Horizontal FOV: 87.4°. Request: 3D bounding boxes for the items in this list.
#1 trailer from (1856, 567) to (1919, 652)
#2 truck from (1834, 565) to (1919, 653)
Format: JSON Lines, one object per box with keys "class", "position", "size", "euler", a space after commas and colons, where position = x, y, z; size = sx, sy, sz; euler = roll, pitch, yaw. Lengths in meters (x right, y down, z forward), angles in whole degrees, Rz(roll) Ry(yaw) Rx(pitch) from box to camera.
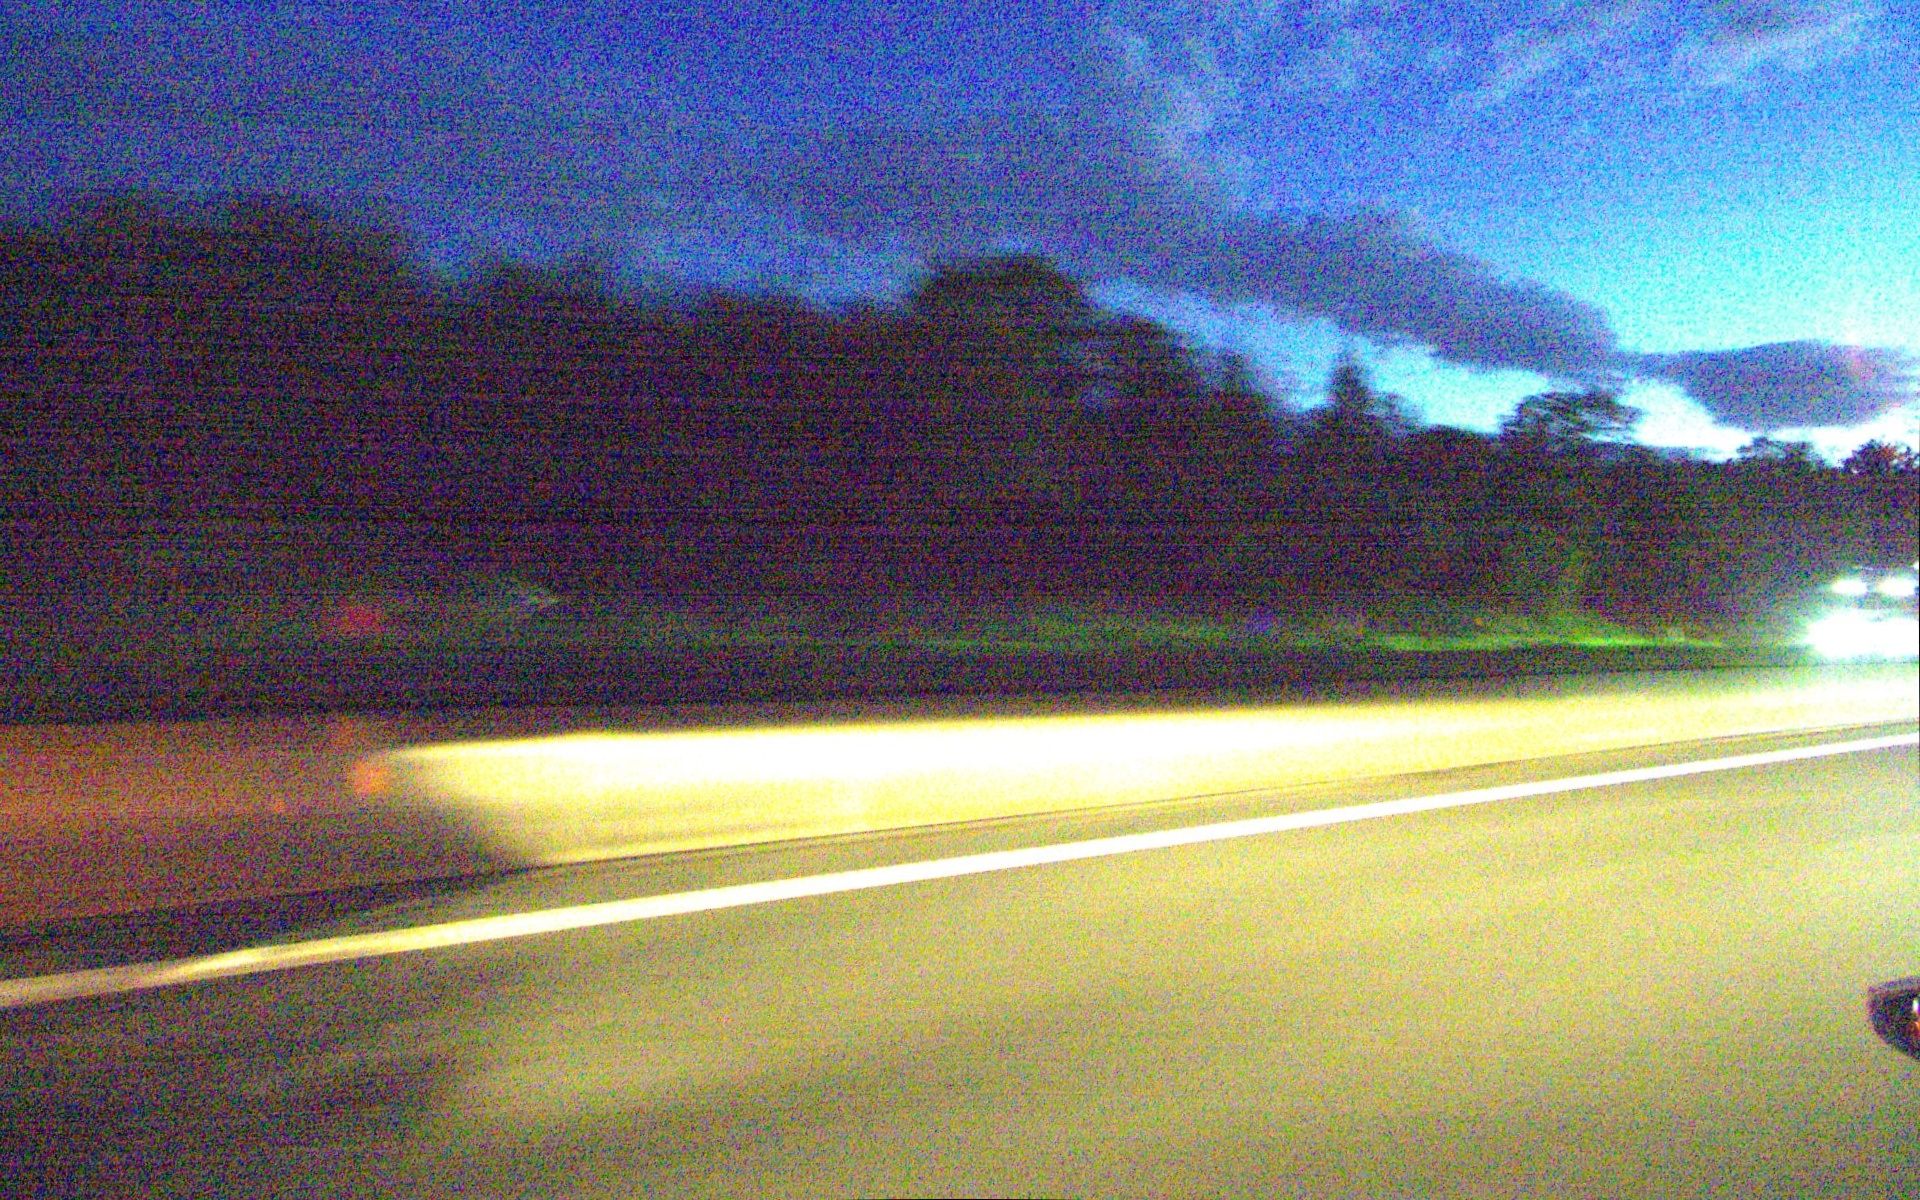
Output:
{"class": "trailer", "position": [51.060, 0.625, 52.168], "size": [13.727, 4.033, 2.839], "euler": [2, -1, -31]}
{"class": "truck", "position": [45.351, 0.461, 48.687], "size": [5.793, 4.033, 2.839], "euler": [1, 0, -31]}
